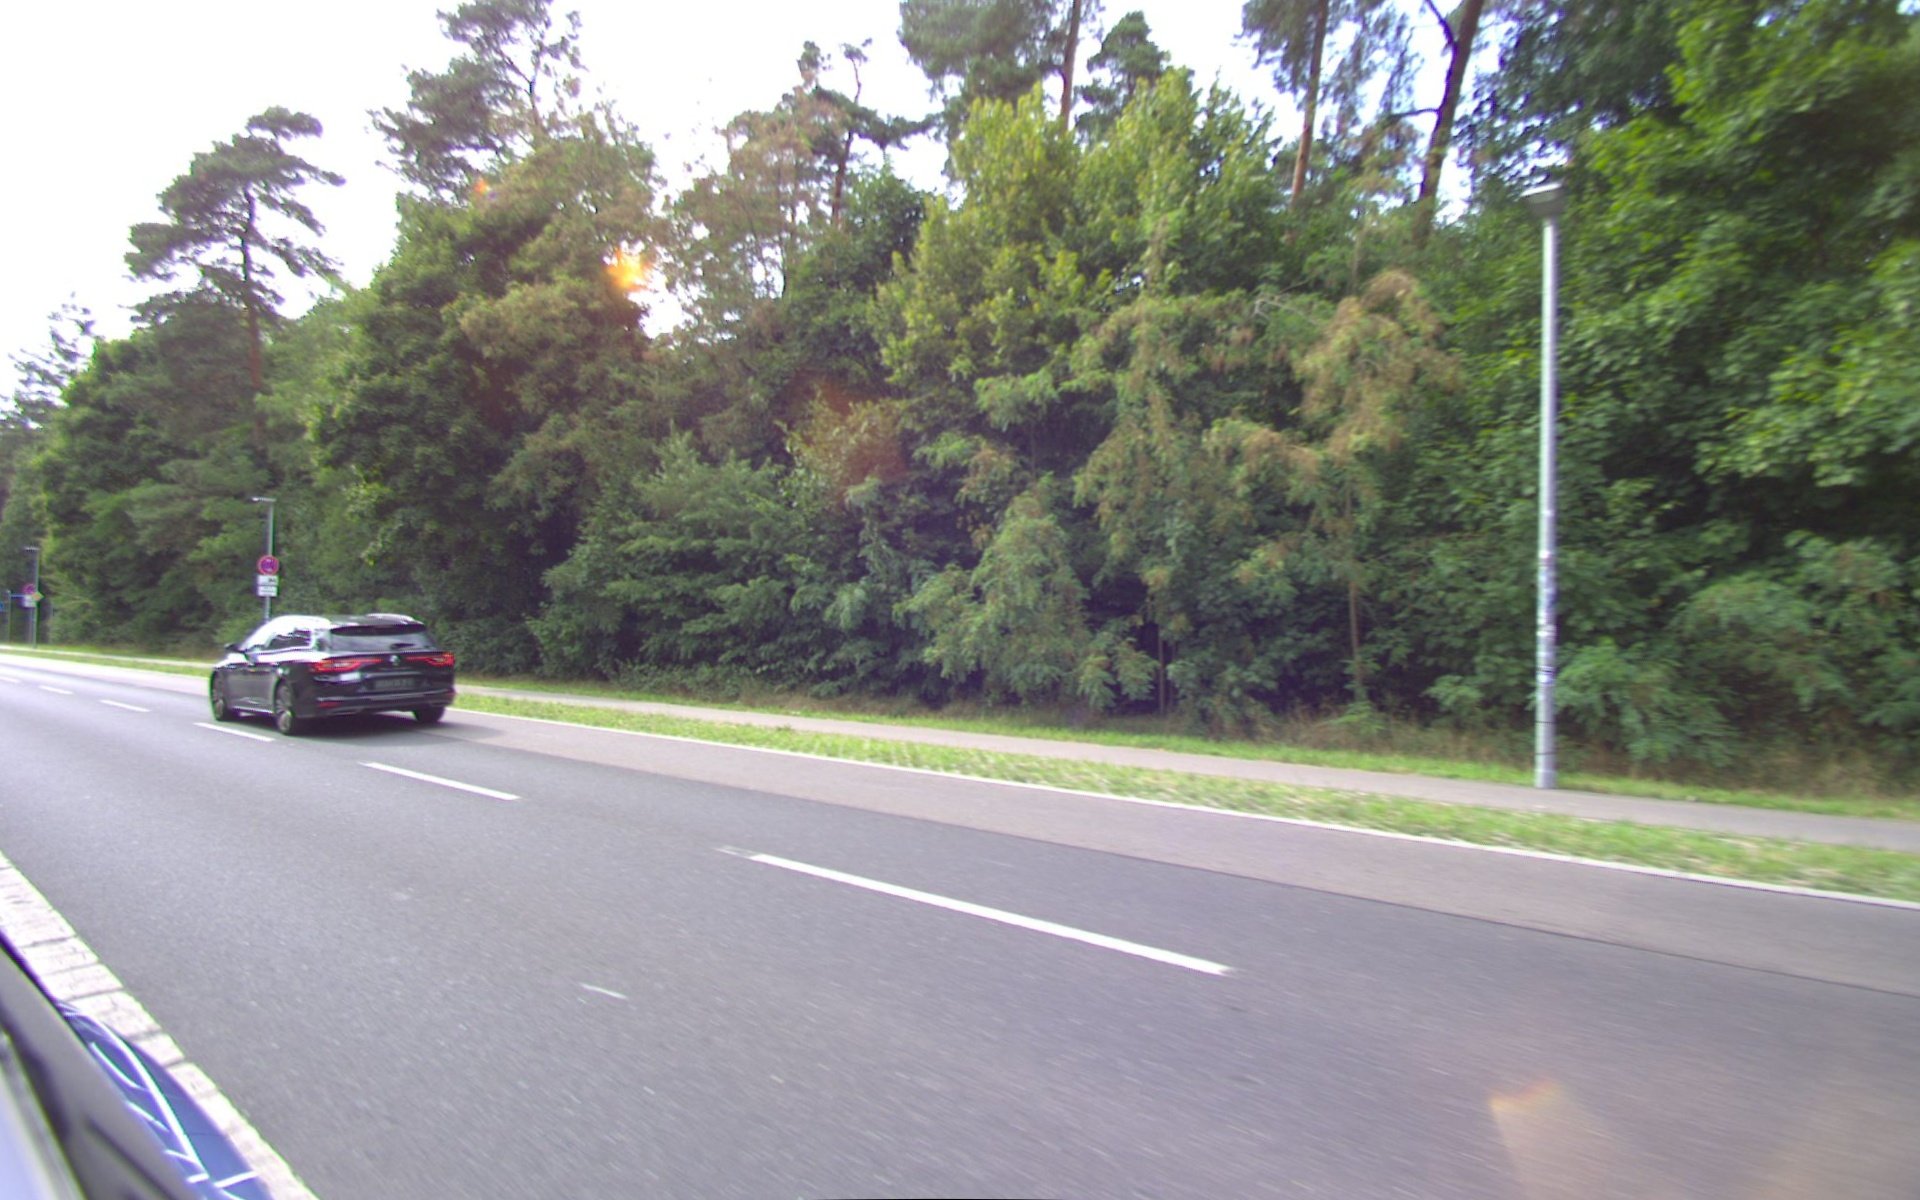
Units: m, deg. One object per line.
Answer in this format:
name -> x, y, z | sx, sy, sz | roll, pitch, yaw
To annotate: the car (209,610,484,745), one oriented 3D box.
car -> -8.334, 0.898, 13.581 | 4.400, 1.453, 1.862 | 0, 1, 40
